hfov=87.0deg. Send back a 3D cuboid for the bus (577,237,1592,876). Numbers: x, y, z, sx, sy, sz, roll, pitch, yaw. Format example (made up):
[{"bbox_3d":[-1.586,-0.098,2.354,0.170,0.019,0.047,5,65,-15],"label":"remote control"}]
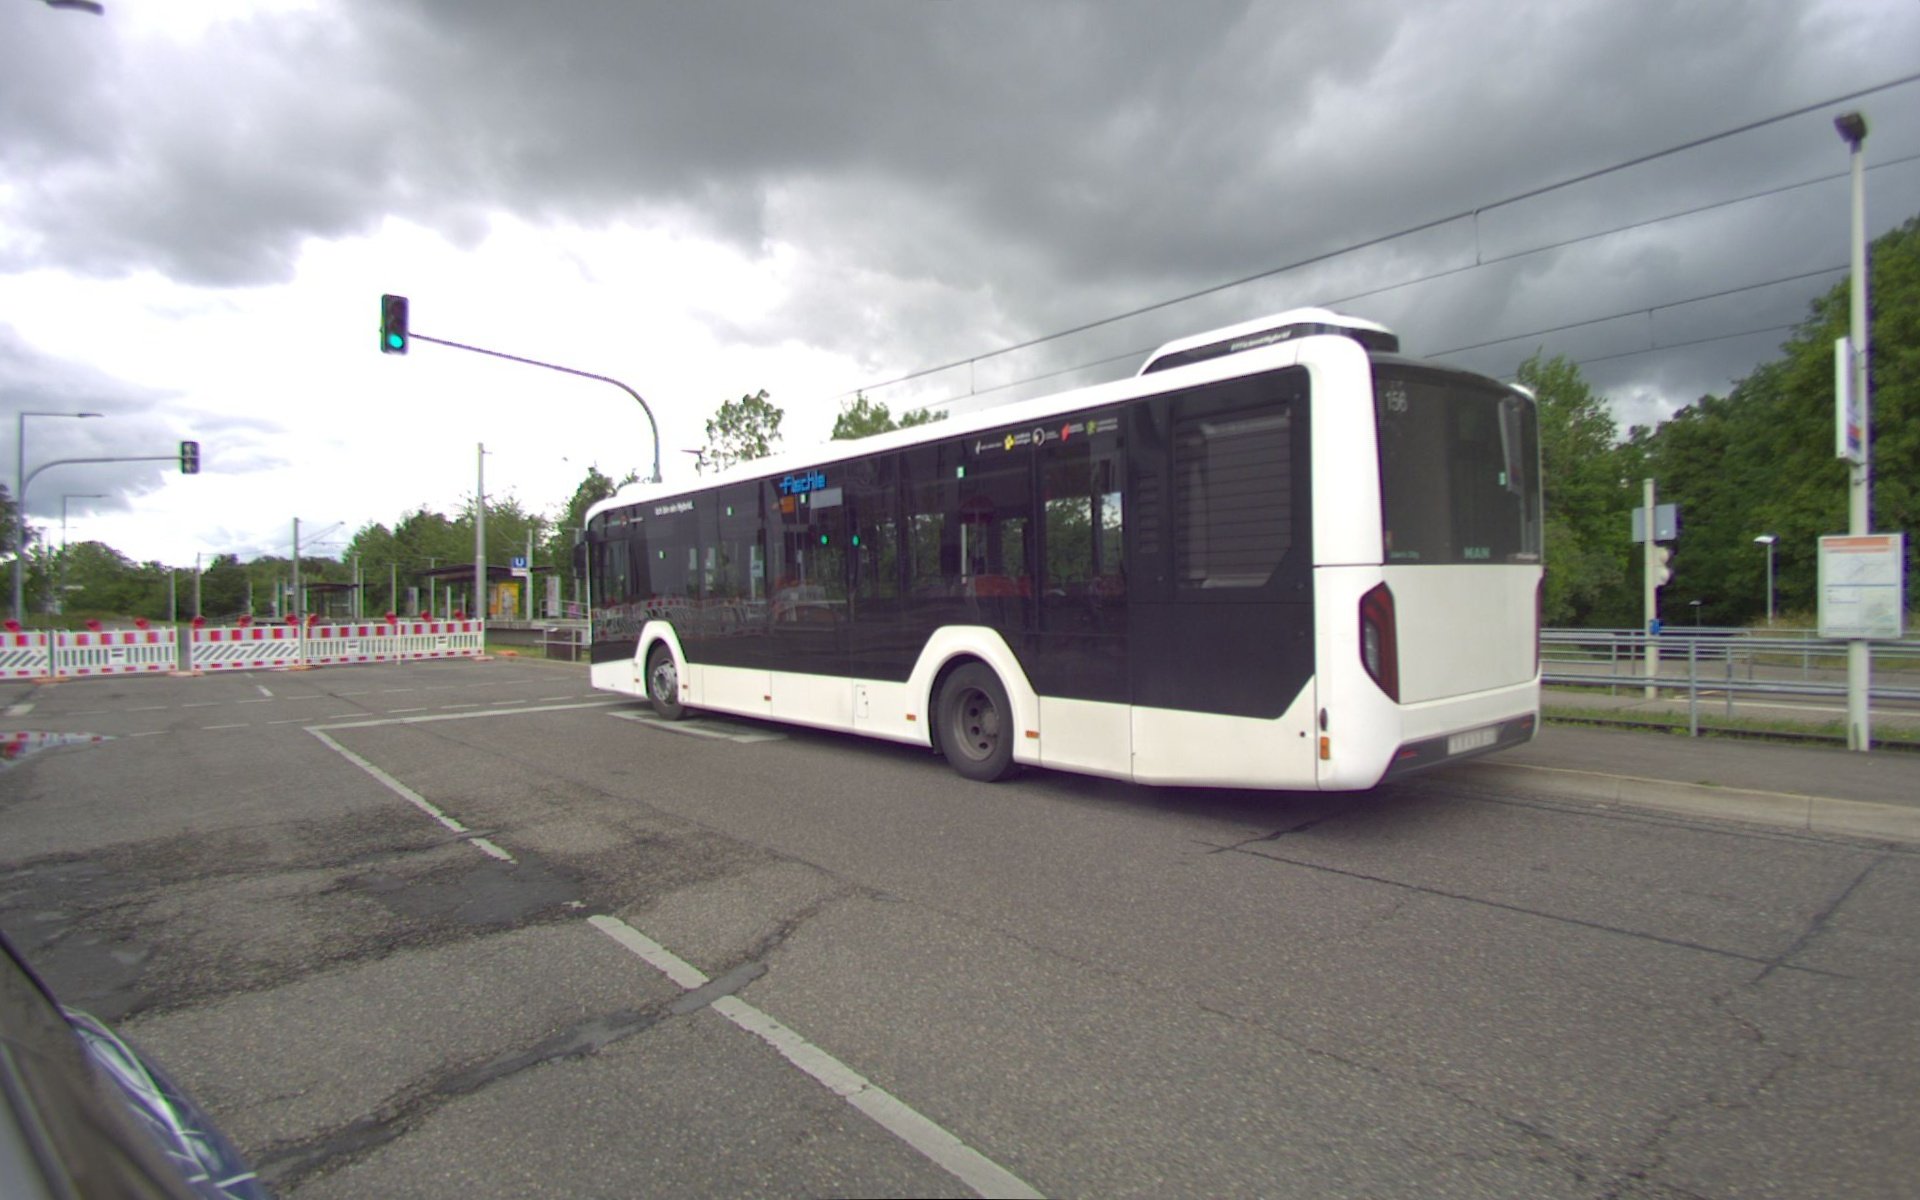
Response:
[{"bbox_3d":[-0.653,-0.164,10.690,2.632,3.227,12.221,0,-1,-39],"label":"bus"}]

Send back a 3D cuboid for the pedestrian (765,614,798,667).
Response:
[{"bbox_3d":[-5.666,1.279,32.149,0.792,1.633,0.724,0,-1,-40],"label":"pedestrian"}]
